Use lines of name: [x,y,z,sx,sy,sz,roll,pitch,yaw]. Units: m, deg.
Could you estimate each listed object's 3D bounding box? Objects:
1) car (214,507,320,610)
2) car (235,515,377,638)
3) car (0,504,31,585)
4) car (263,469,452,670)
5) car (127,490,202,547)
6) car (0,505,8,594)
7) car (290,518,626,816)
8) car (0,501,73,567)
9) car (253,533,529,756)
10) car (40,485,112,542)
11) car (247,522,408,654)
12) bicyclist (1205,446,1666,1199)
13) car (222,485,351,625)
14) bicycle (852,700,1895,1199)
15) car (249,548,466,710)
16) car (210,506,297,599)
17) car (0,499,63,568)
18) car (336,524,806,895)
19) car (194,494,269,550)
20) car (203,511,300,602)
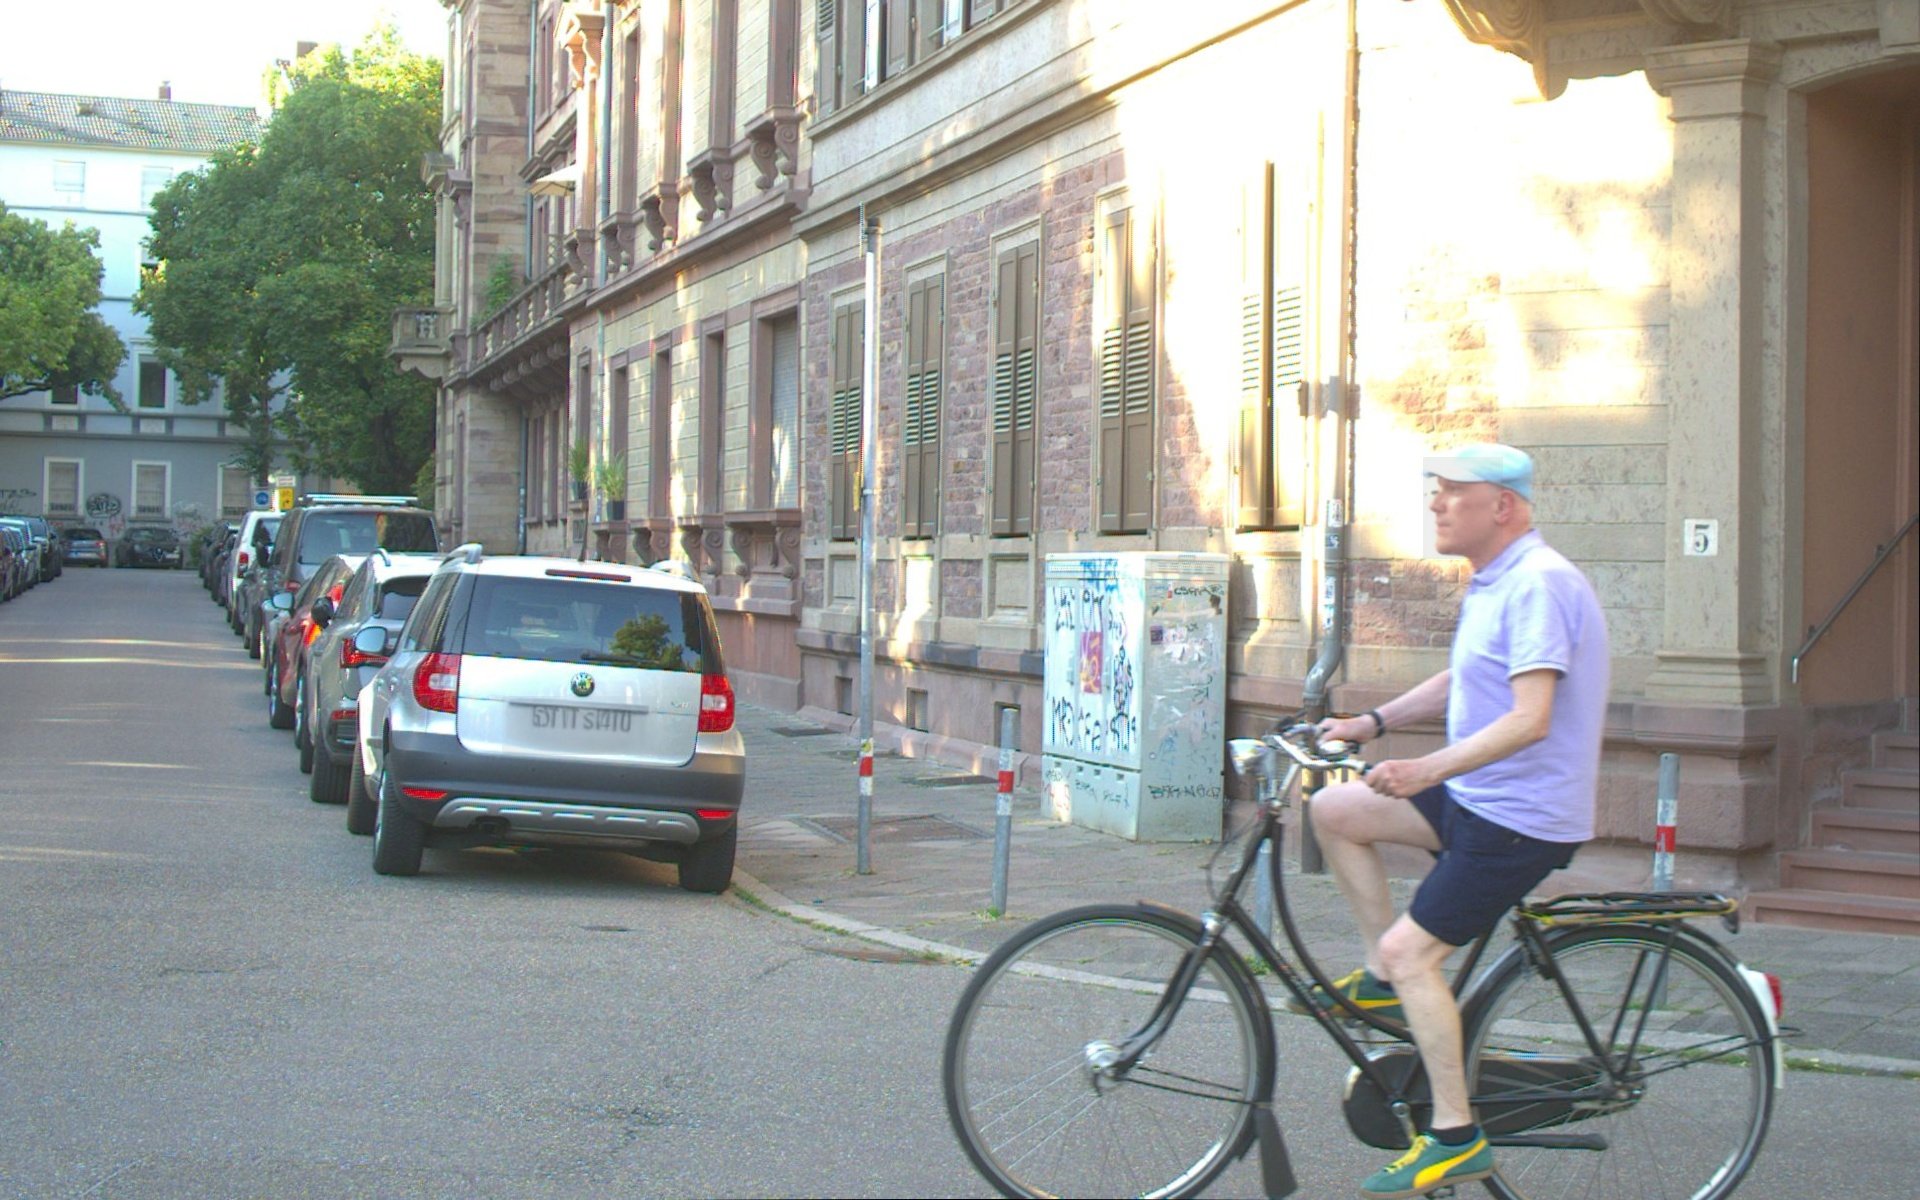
car: [-13.497,-0.823,66.835,1.797,1.832,3.956,4,0,-13]
car: [-9.589,-0.372,50.230,1.797,1.617,3.956,4,0,-13]
car: [-19.122,-1.146,66.671,1.825,1.495,3.932,5,0,-12]
car: [-6.918,-0.371,39.206,1.797,2.065,3.956,4,0,-13]
car: [-26.688,-2.712,115.281,1.993,1.678,4.001,3,-1,-18]
car: [-16.739,-0.890,56.443,1.825,1.495,3.932,5,0,-12]
car: [-3.528,0.373,23.490,1.825,1.718,4.545,5,0,-12]
car: [-23.431,-1.685,86.652,1.825,1.495,3.932,5,0,-12]
car: [-4.837,0.317,28.813,1.797,1.608,3.956,4,0,-15]
car: [-29.375,-2.848,114.193,1.993,1.678,4.001,3,-1,-18]
car: [-8.266,-0.189,44.695,1.797,1.518,3.956,4,0,-13]
bicyclist: [1.003,0.482,7.433,0.871,1.583,0.701,2,1,1]
car: [-10.966,-0.751,55.773,1.797,2.065,3.956,4,0,-13]
bicycle: [0.856,0.785,7.438,2.117,1.050,0.701,2,1,2]
car: [-5.936,0.241,33.552,1.797,1.340,3.956,4,0,-13]
car: [-16.731,-1.134,81.289,1.797,2.010,3.956,4,0,-13]
car: [-22.398,-1.603,81.654,1.825,1.495,3.932,5,0,-12]
car: [-2.221,0.505,18.532,1.915,1.651,4.188,5,0,-13]
car: [-24.654,-2.614,116.254,1.993,1.678,4.001,3,-1,-18]
car: [-14.866,-0.933,71.991,1.797,1.722,3.956,4,0,-13]
